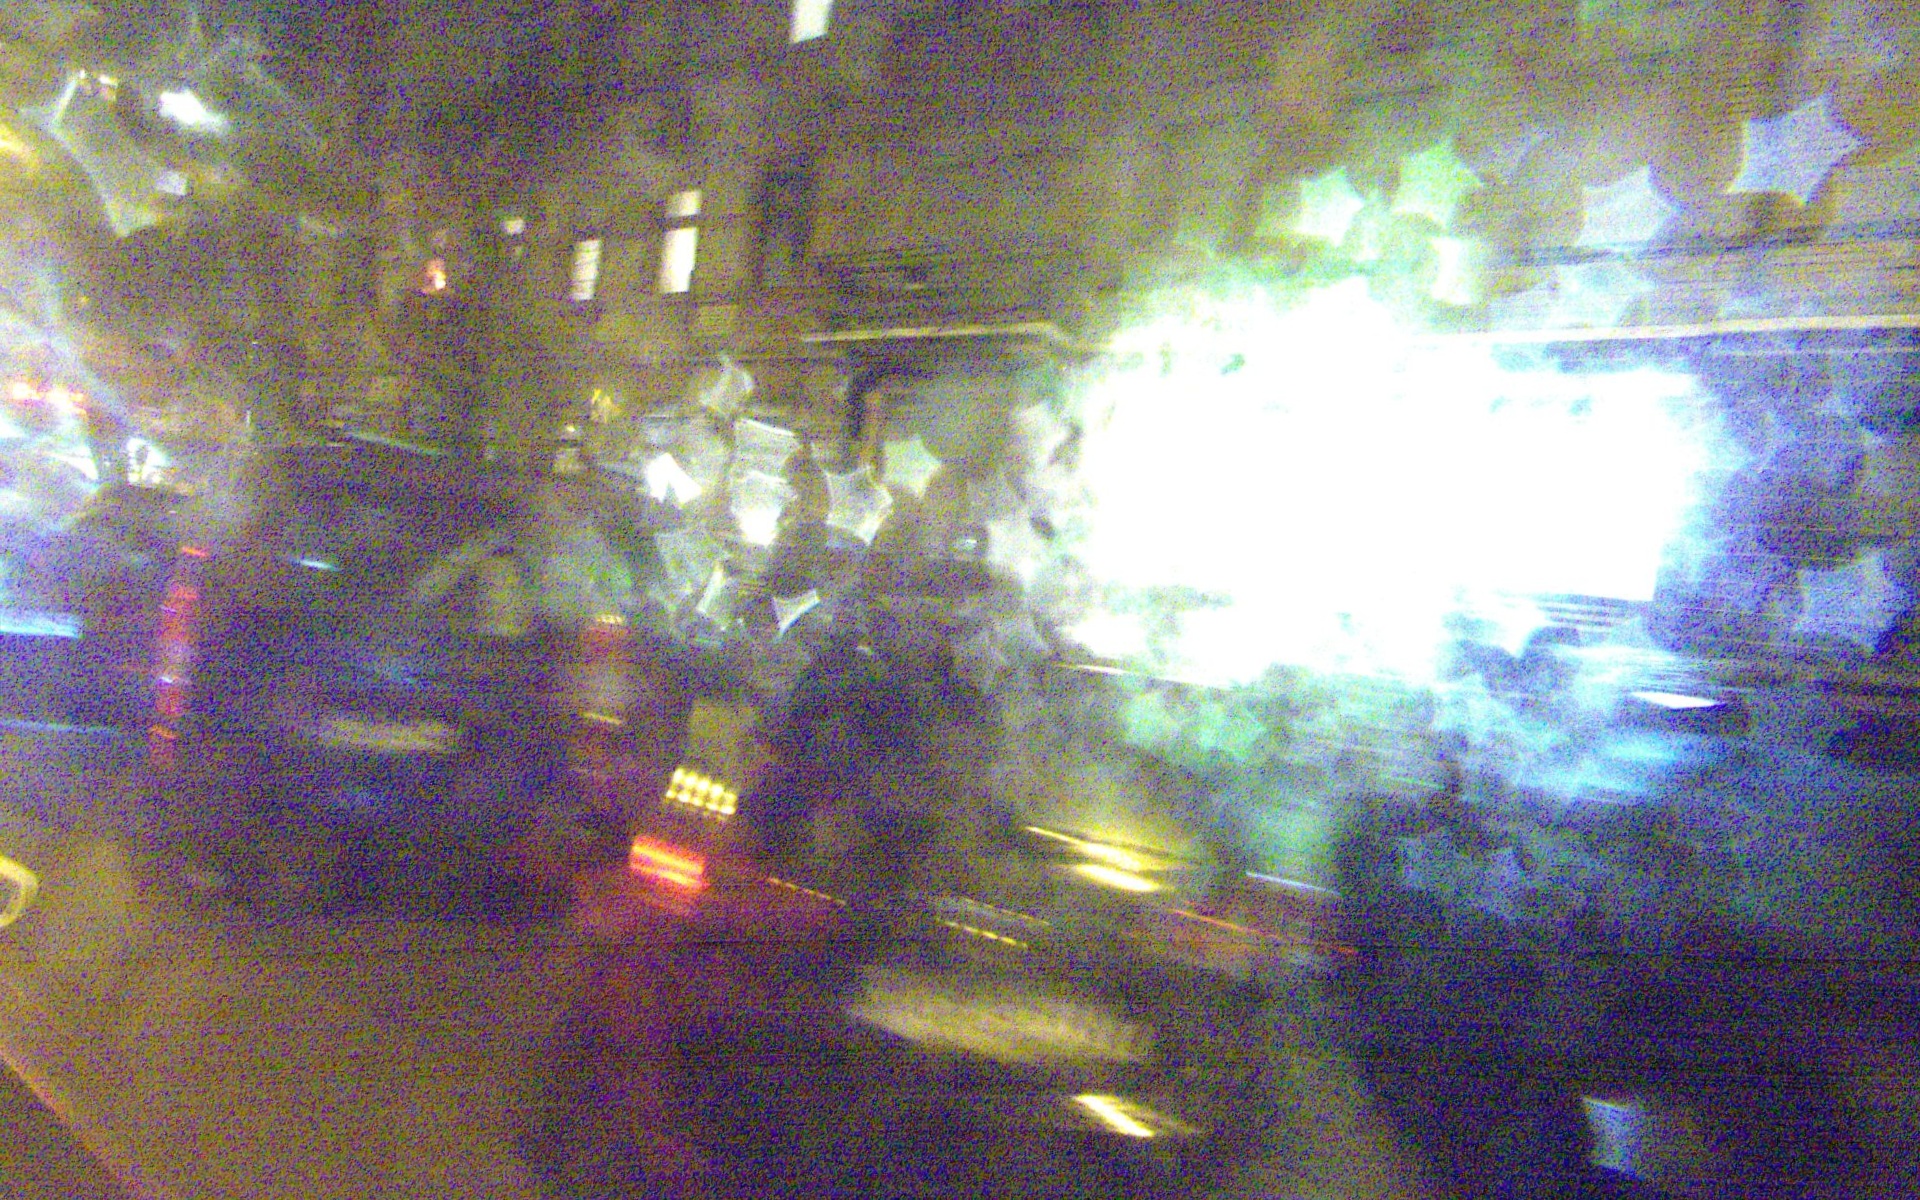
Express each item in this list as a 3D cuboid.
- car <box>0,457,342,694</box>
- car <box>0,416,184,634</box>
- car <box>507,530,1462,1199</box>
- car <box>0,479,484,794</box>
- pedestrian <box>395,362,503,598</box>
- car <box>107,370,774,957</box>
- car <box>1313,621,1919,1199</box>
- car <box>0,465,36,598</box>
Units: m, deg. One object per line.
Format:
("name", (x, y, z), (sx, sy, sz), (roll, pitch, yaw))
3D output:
("car", (-7.488, -0.338, 8.760), (1.847, 1.609, 3.993), (6, 2, -4))
("car", (-9.687, -0.780, 9.809), (1.577, 2.017, 3.560), (6, 2, -5))
("car", (-0.063, 0.657, 3.679), (1.695, 1.504, 3.560), (6, 2, -4))
("car", (-4.815, 0.099, 6.710), (1.642, 1.472, 3.561), (6, 2, -3))
("pedestrian", (-8.123, -1.878, 16.007), (0.778, 3.570, 0.892), (7, 0, 31))
("car", (-2.119, 0.194, 5.321), (1.695, 1.864, 3.744), (6, 2, -5))
("car", (2.211, 0.951, 2.297), (1.423, 1.514, 3.512), (6, 2, 0))
("car", (-12.320, -0.865, 10.827), (1.577, 1.611, 3.560), (6, 2, -5))
